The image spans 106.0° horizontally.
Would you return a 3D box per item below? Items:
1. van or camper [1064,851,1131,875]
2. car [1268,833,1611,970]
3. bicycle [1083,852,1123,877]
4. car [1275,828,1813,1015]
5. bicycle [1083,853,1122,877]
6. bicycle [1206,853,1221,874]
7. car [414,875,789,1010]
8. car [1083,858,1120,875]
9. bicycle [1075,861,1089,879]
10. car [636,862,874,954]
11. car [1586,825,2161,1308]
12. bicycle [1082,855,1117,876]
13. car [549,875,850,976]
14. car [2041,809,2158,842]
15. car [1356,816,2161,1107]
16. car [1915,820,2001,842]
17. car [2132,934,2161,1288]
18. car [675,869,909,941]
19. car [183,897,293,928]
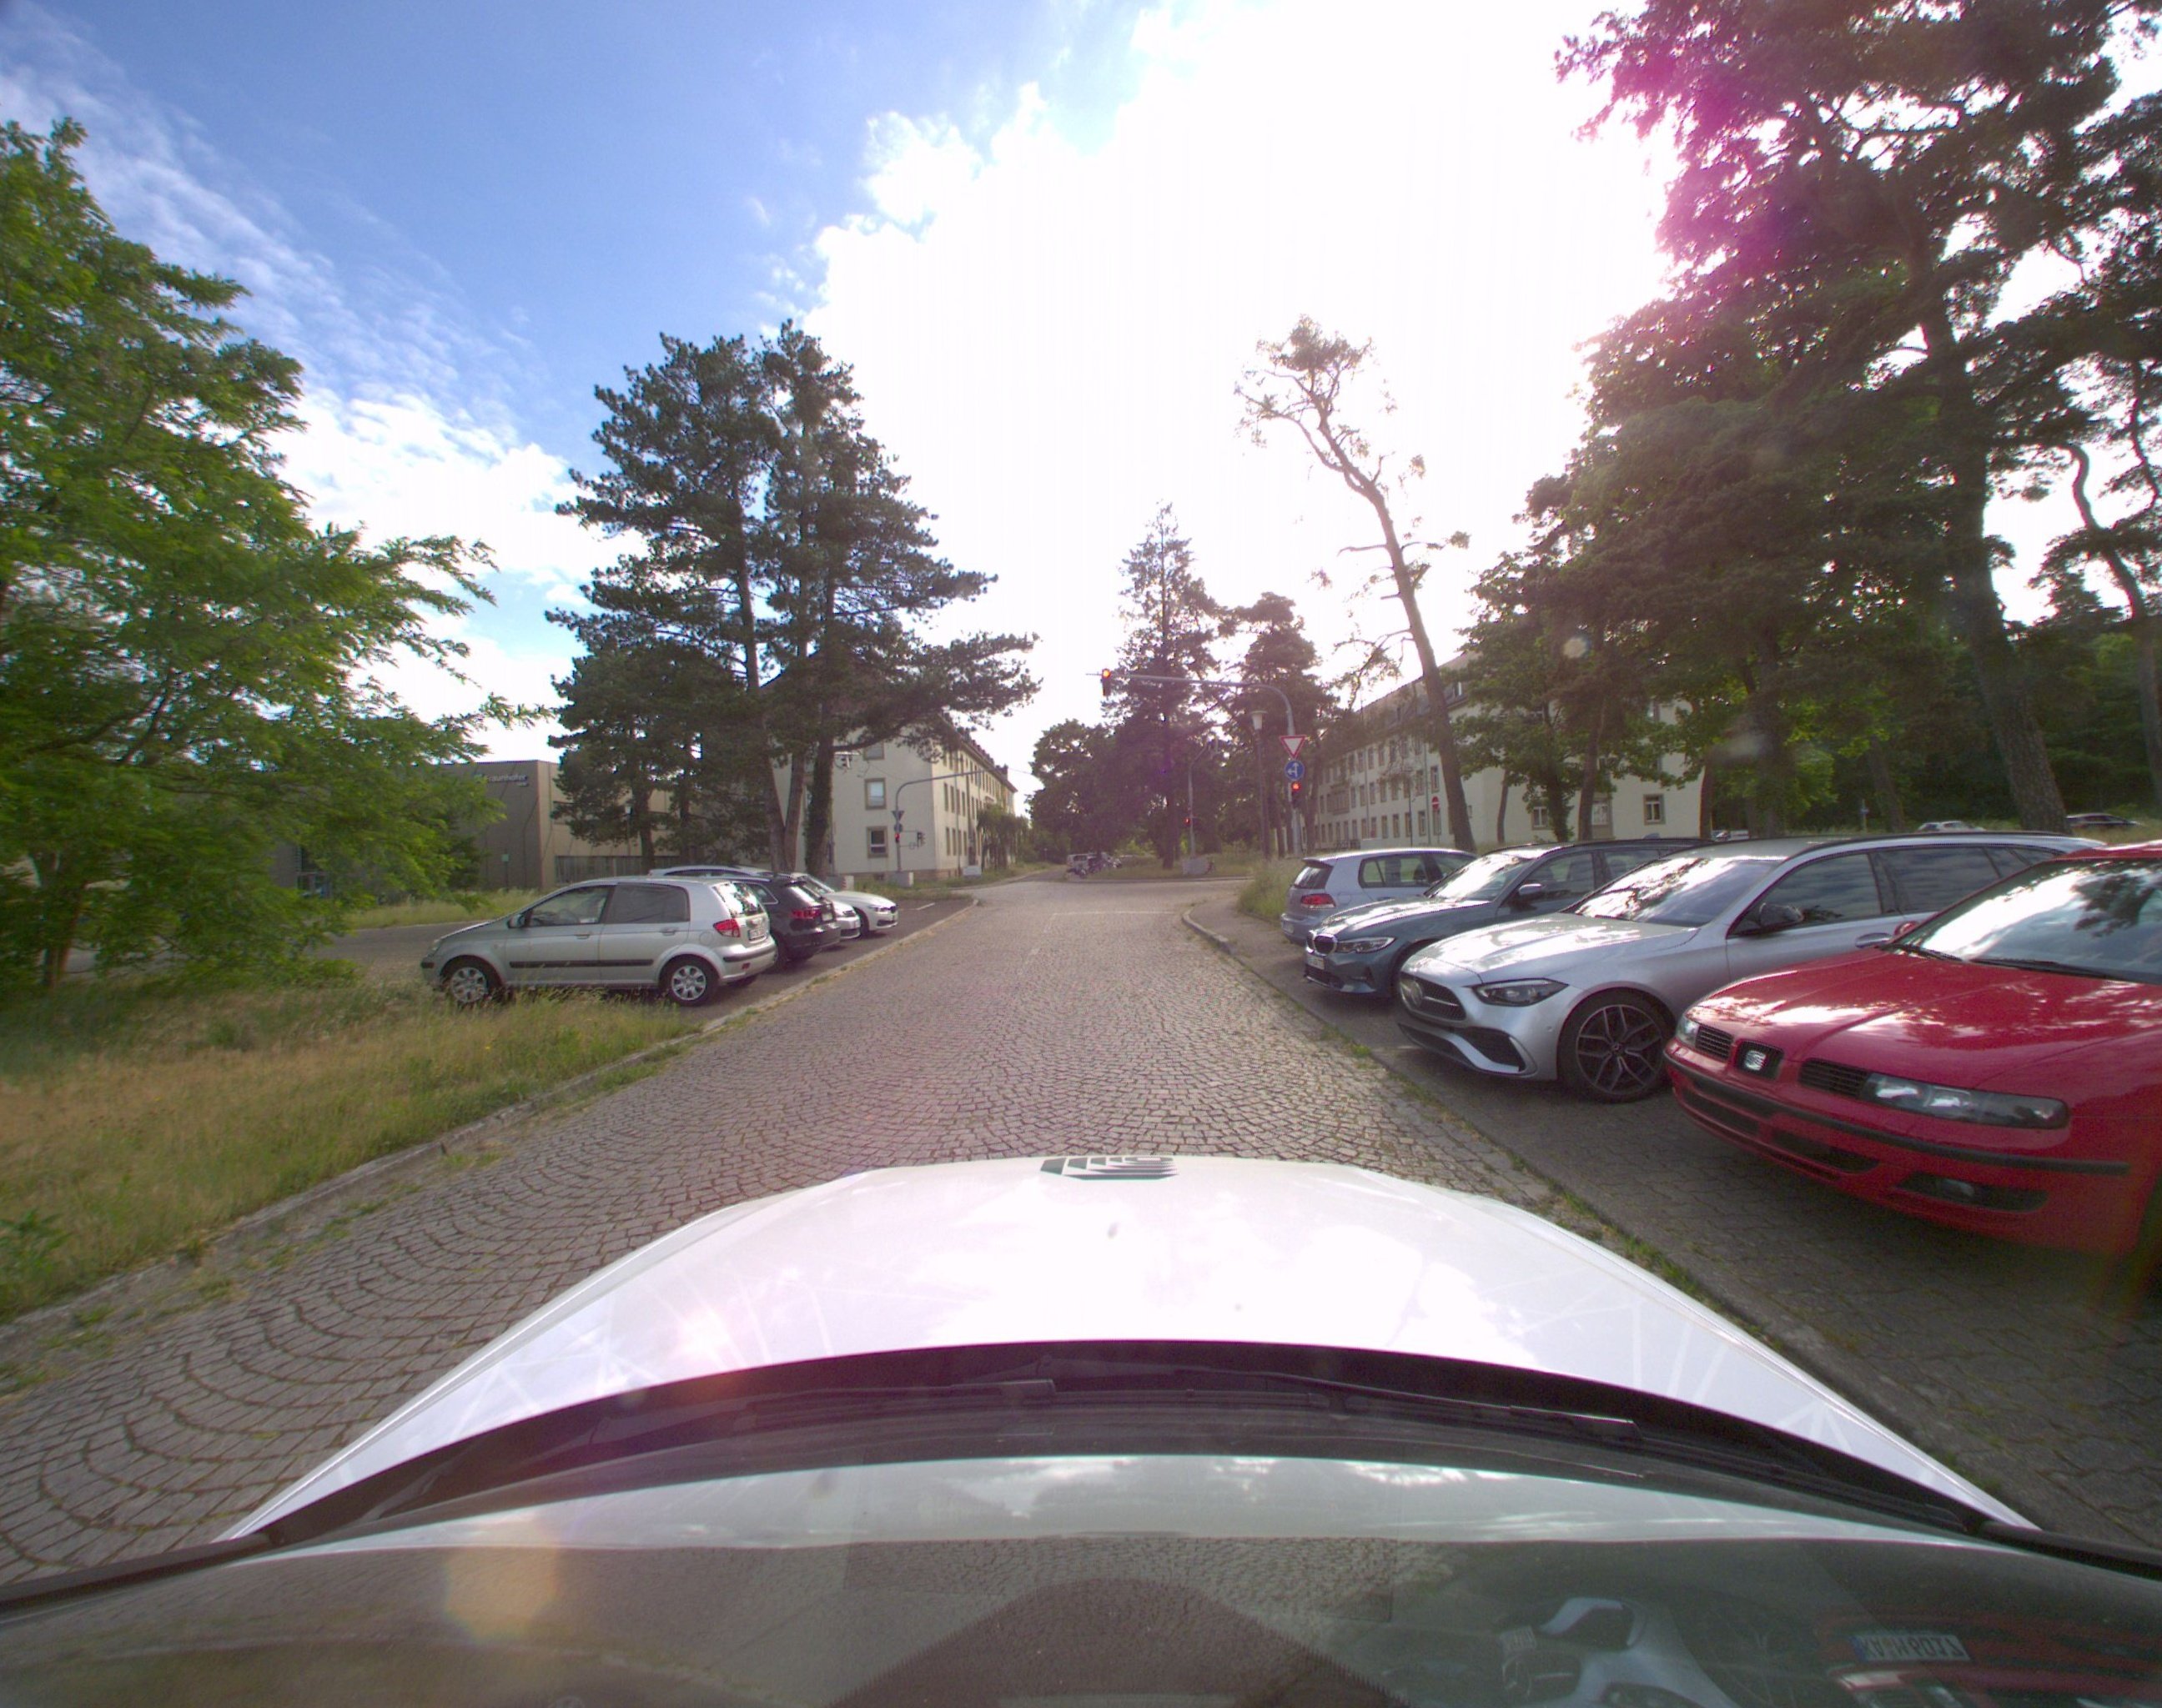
[{"bbox_3d":[1.538,0.857,77.860,6.033,1.949,1.993,-3,0,-10],"label":"van or camper"},{"bbox_3d":[4.632,0.588,10.906,3.831,1.471,1.641,-3,0,-1],"label":"car"},{"bbox_3d":[1.611,0.794,59.951,2.771,1.694,1.118,-3,0,-6],"label":"bicycle"},{"bbox_3d":[4.490,0.606,8.359,4.502,1.483,1.806,-3,0,-3],"label":"car"},{"bbox_3d":[1.597,0.829,61.145,2.773,1.694,1.117,-3,0,-7],"label":"bicycle"},{"bbox_3d":[7.837,0.546,48.173,0.720,1.169,2.742,-1,-1,7],"label":"bicycle"},{"bbox_3d":[-5.672,1.010,9.997,3.567,1.476,1.646,0,-1,-3],"label":"car"},{"bbox_3d":[1.837,1.110,74.341,3.133,1.354,1.617,-3,0,-6],"label":"car"},{"bbox_3d":[0.095,1.105,55.664,0.723,1.107,2.463,-7,-1,2],"label":"bicycle"},{"bbox_3d":[-6.086,0.979,15.549,3.822,1.607,1.734,0,0,-3],"label":"car"},{"bbox_3d":[4.692,0.600,3.368,4.093,1.423,1.720,-3,0,1],"label":"car"},{"bbox_3d":[1.505,0.945,66.047,2.765,1.694,1.120,0,-1,1],"label":"bicycle"},{"bbox_3d":[-5.725,1.050,12.569,3.824,1.408,1.695,0,0,-1],"label":"car"},{"bbox_3d":[56.385,-1.558,45.162,2.009,1.600,3.955,-3,0,-37],"label":"car"},{"bbox_3d":[4.379,0.615,5.622,4.313,1.428,1.766,-3,0,-1],"label":"car"},{"bbox_3d":[57.584,-1.516,53.532,3.974,1.398,1.563,0,-1,0],"label":"car"},{"bbox_3d":[4.172,0.728,0.994,3.532,1.287,1.609,-3,-2,2],"label":"car"},{"bbox_3d":[-6.206,1.086,17.943,4.468,1.442,1.828,1,-1,-4],"label":"car"},{"bbox_3d":[-47.932,3.306,46.425,1.750,1.414,4.135,-3,0,4],"label":"car"}]
